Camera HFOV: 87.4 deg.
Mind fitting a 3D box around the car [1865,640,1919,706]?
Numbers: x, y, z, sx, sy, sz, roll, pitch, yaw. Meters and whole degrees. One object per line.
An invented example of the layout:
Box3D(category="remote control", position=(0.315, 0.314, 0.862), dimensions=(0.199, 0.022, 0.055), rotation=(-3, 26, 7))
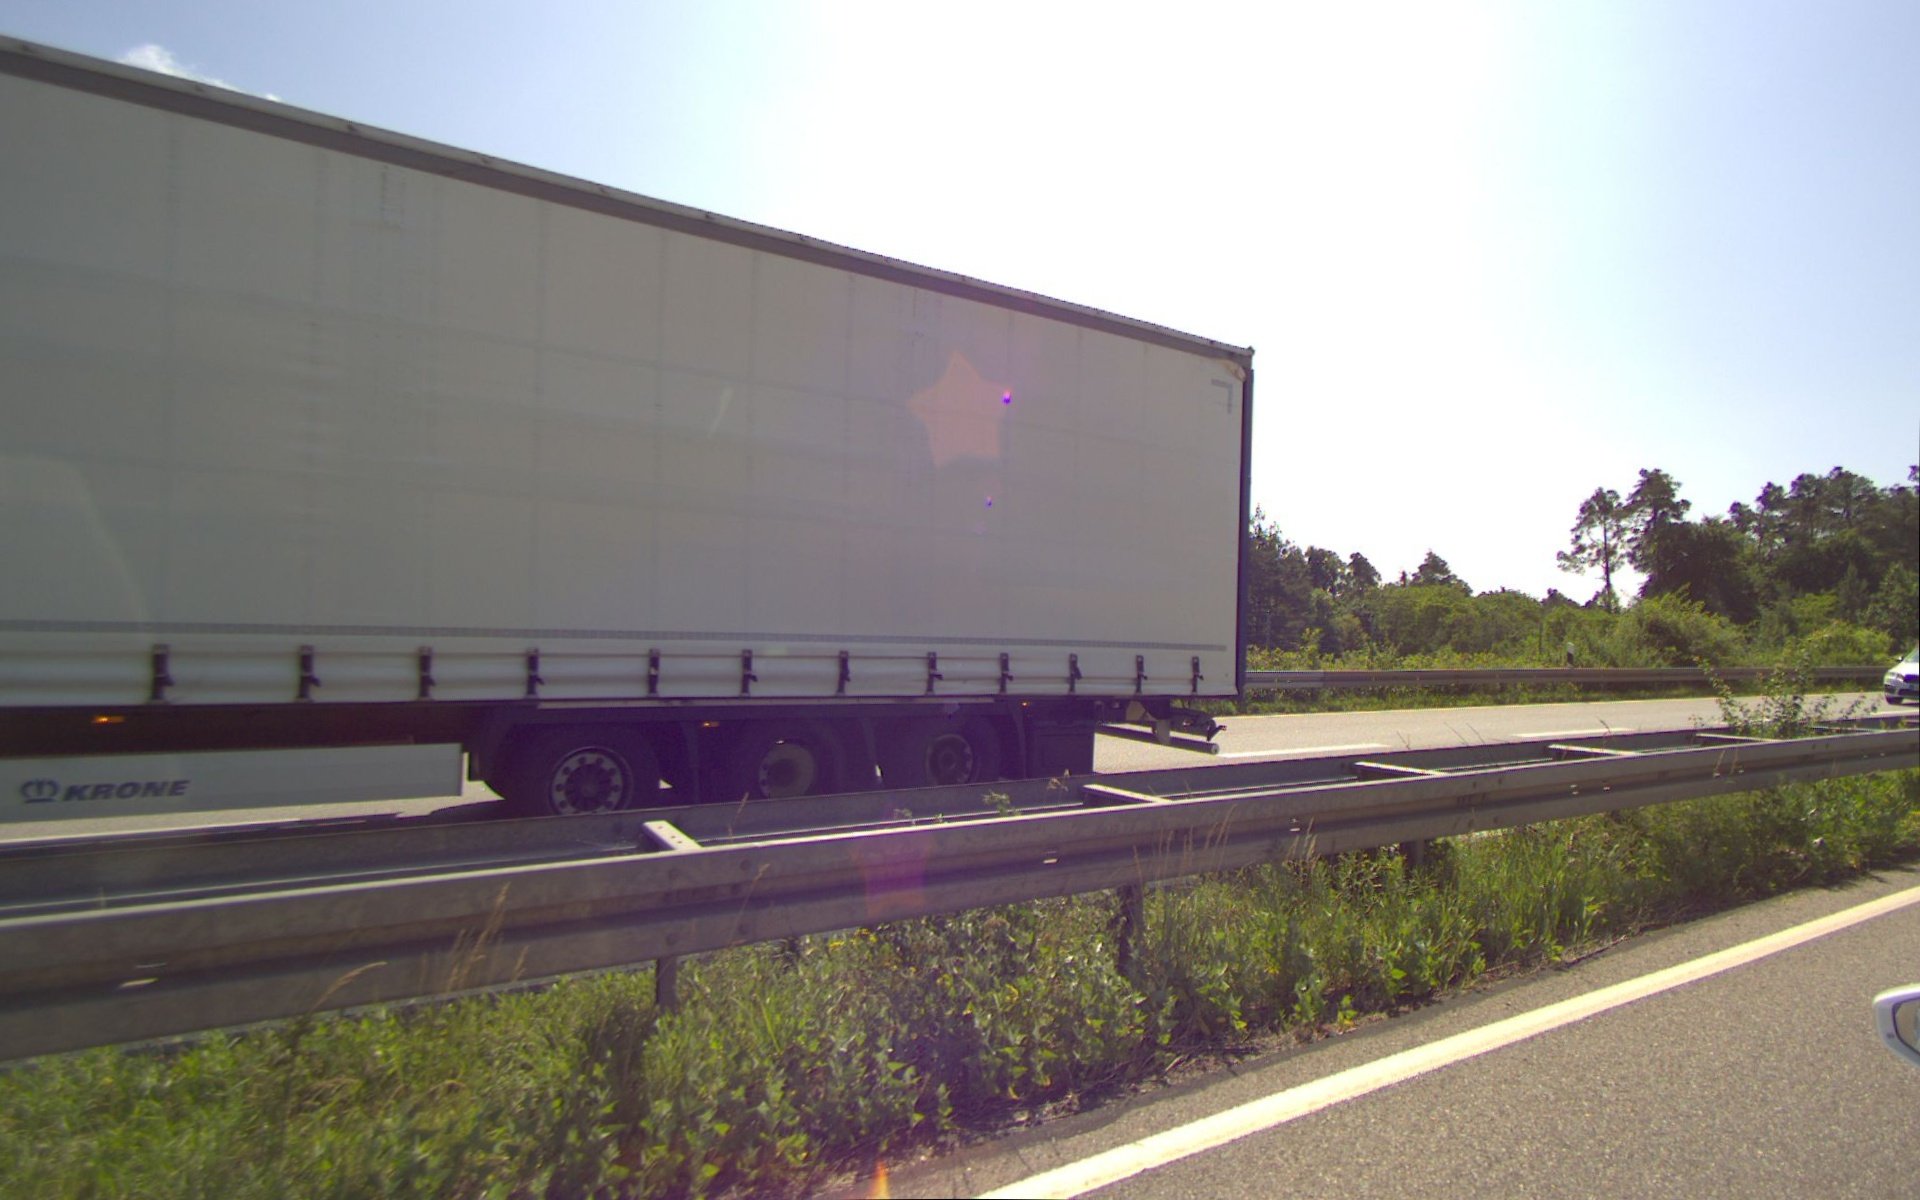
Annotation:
Box3D(category="car", position=(23.525, 1.711, 23.816), dimensions=(4.552, 1.463, 1.785), rotation=(2, -1, -30))

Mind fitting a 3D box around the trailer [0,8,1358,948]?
Box3D(category="trailer", position=(-2.997, -0.472, 6.975), dimensions=(14.422, 4.228, 2.731), rotation=(2, -1, -32))
